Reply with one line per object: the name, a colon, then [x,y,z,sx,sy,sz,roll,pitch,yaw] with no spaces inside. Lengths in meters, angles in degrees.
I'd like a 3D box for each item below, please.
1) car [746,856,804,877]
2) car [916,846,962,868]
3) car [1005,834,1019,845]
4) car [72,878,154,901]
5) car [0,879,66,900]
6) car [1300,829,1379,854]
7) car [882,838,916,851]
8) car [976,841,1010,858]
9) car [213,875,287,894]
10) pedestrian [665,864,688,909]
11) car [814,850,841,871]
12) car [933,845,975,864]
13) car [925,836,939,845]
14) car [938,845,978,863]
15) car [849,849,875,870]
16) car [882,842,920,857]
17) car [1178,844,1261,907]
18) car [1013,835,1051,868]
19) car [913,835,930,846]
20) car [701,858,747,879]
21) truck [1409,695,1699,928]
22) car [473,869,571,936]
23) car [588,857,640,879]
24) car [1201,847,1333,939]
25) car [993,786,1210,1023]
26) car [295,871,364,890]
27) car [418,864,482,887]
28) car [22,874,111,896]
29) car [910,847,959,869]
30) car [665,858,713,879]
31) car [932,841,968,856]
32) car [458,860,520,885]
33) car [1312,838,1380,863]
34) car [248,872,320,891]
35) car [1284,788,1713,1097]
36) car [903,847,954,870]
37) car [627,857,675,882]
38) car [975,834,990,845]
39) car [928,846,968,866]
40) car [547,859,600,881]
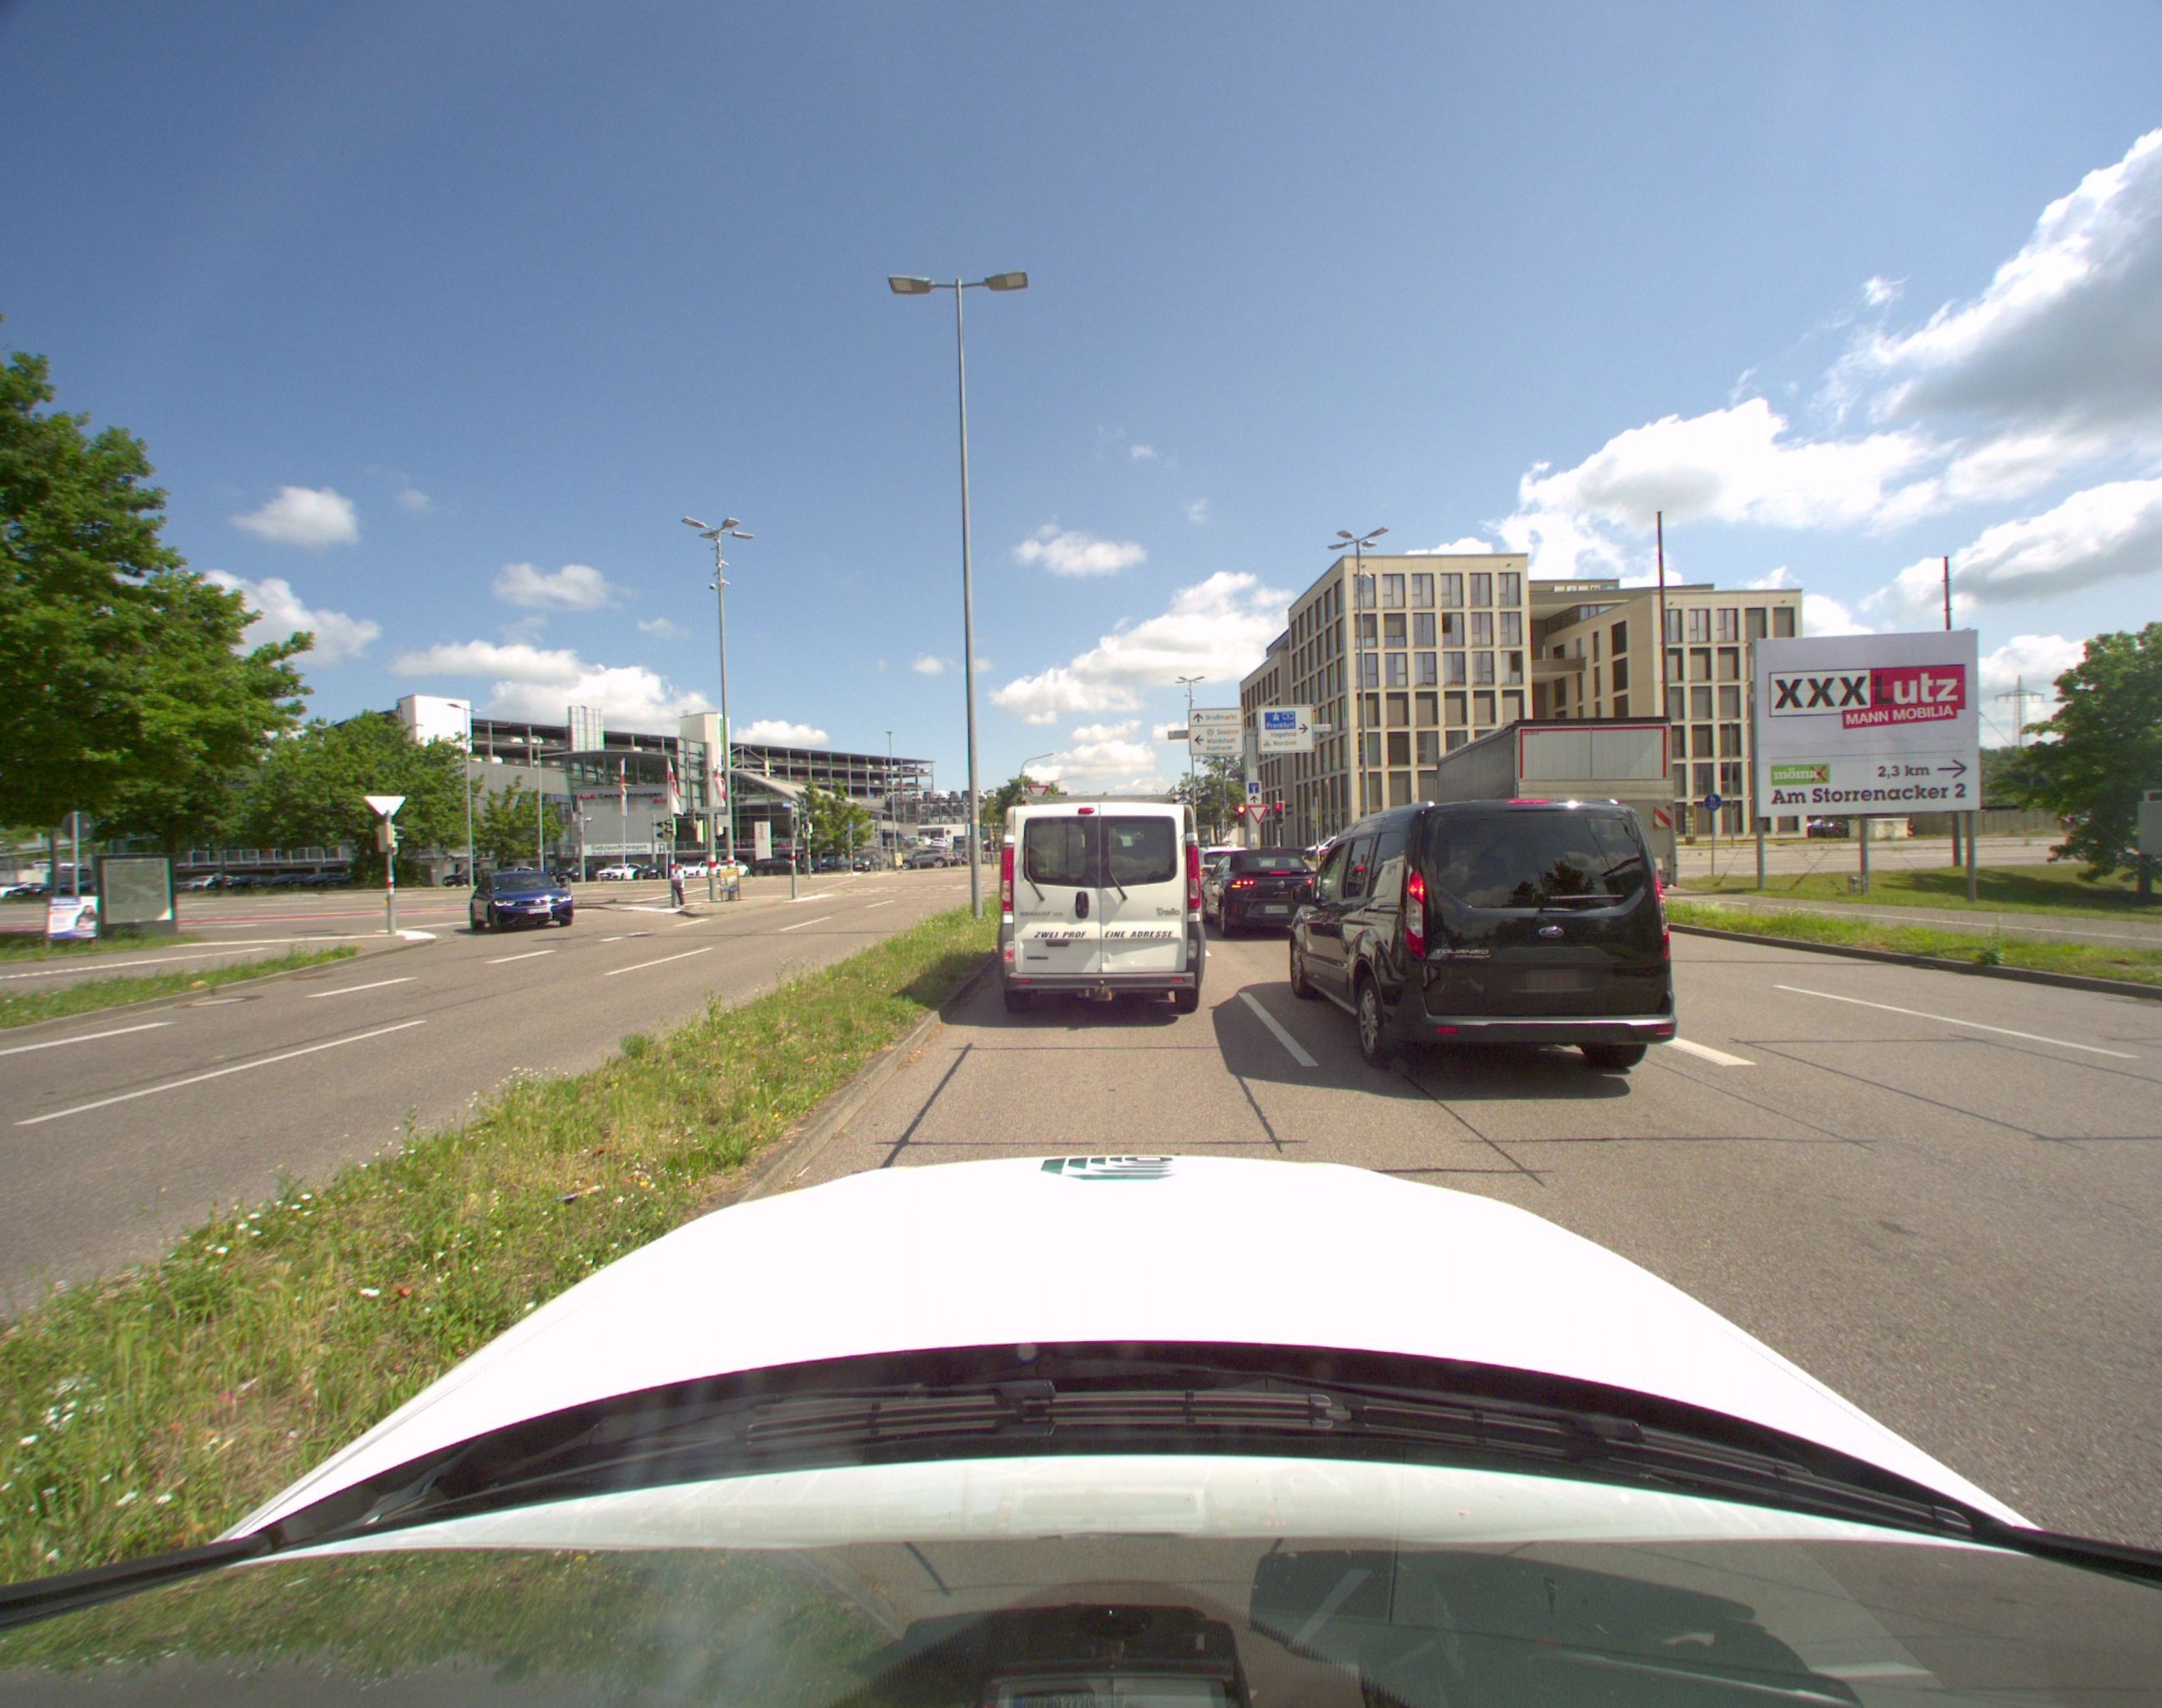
car: [-23.129,0.926,61.664,3.784,1.513,1.677,-1,1,-4]
car: [-12.925,0.258,74.246,3.903,1.712,1.687,-3,1,-3]
car: [-10.153,-2.186,119.911,1.842,1.530,3.996,-1,1,-3]
car: [-69.137,2.518,58.228,1.585,1.390,3.505,-1,0,2]
car: [-78.141,2.619,59.917,1.791,1.254,4.002,-1,1,2]
car: [18.256,-0.884,57.676,4.968,1.607,1.999,-1,1,-1]
car: [-23.818,-1.230,106.715,4.157,1.713,1.686,-1,0,-5]
car: [-10.668,-0.528,98.873,3.980,1.925,1.824,-1,0,-5]
car: [-59.505,2.151,58.399,1.585,1.191,3.505,-1,0,2]
pedestrian: [-13.930,1.119,28.028,0.465,1.512,0.515,-1,0,26]
car: [-19.432,0.497,62.576,1.820,1.552,3.979,-1,0,-15]
car: [-12.991,0.052,83.478,3.903,1.712,1.687,-3,1,-3]
car: [-25.443,-2.270,139.408,1.842,1.530,3.996,-1,1,-3]
car: [-12.993,-0.001,86.270,3.903,1.712,1.687,-3,1,-3]
car: [-16.835,0.407,62.548,1.820,1.552,3.979,-1,0,-15]
car: [-21.337,-0.579,96.782,4.157,1.713,1.686,-1,0,-5]
car: [3.661,0.540,22.117,1.733,1.543,4.003,0,0,2]
car: [-3.543,-0.253,60.050,1.962,2.256,4.988,-3,1,5]
car: [-23.548,-1.965,120.523,1.842,1.530,3.996,-1,1,-3]
car: [-27.091,1.084,61.963,1.771,1.450,4.027,-1,1,-2]
truck: [9.845,-0.726,18.376,3.108,3.940,8.889,-1,0,13]
car: [-15.657,1.324,22.742,2.010,1.509,3.955,-5,0,-37]
car: [-35.139,1.057,61.369,1.875,1.486,3.697,-1,1,-3]
car: [3.330,0.635,15.305,1.733,1.495,4.003,0,0,2]
car: [0.299,0.434,9.008,1.848,2.018,4.004,-1,0,4]
car: [-53.985,1.895,58.589,1.585,1.191,3.505,-1,0,2]
car: [-45.862,1.554,59.258,1.833,1.487,3.697,-1,1,-3]
car: [-73.294,2.212,58.927,1.691,1.390,3.733,-1,0,2]
car: [-12.542,0.324,69.859,3.903,1.712,1.687,-3,1,-3]
car: [-29.695,1.089,61.782,1.902,1.376,3.749,-1,1,-2]
car: [-15.746,-0.672,98.297,4.157,1.712,1.686,0,1,-5]
car: [-42.651,1.295,58.789,1.810,1.664,3.790,-1,0,-2]
car: [17.363,-0.240,53.542,3.881,1.490,1.795,-1,1,0]
car: [-56.783,1.972,58.101,1.585,1.191,3.505,-1,0,2]
car: [2.952,0.506,6.821,1.811,1.808,4.005,0,0,5]
car: [-12.623,0.352,67.483,3.852,1.639,1.856,-3,1,-2]
car: [-32.329,1.139,61.375,1.752,1.660,3.614,-1,1,-2]
car: [-14.511,-2.097,119.663,1.842,1.530,3.996,-1,1,-3]
car: [-12.696,0.173,77.983,3.499,1.712,1.602,-3,1,-3]
car: [-37.976,1.159,61.026,1.723,1.486,3.698,-1,1,-2]
